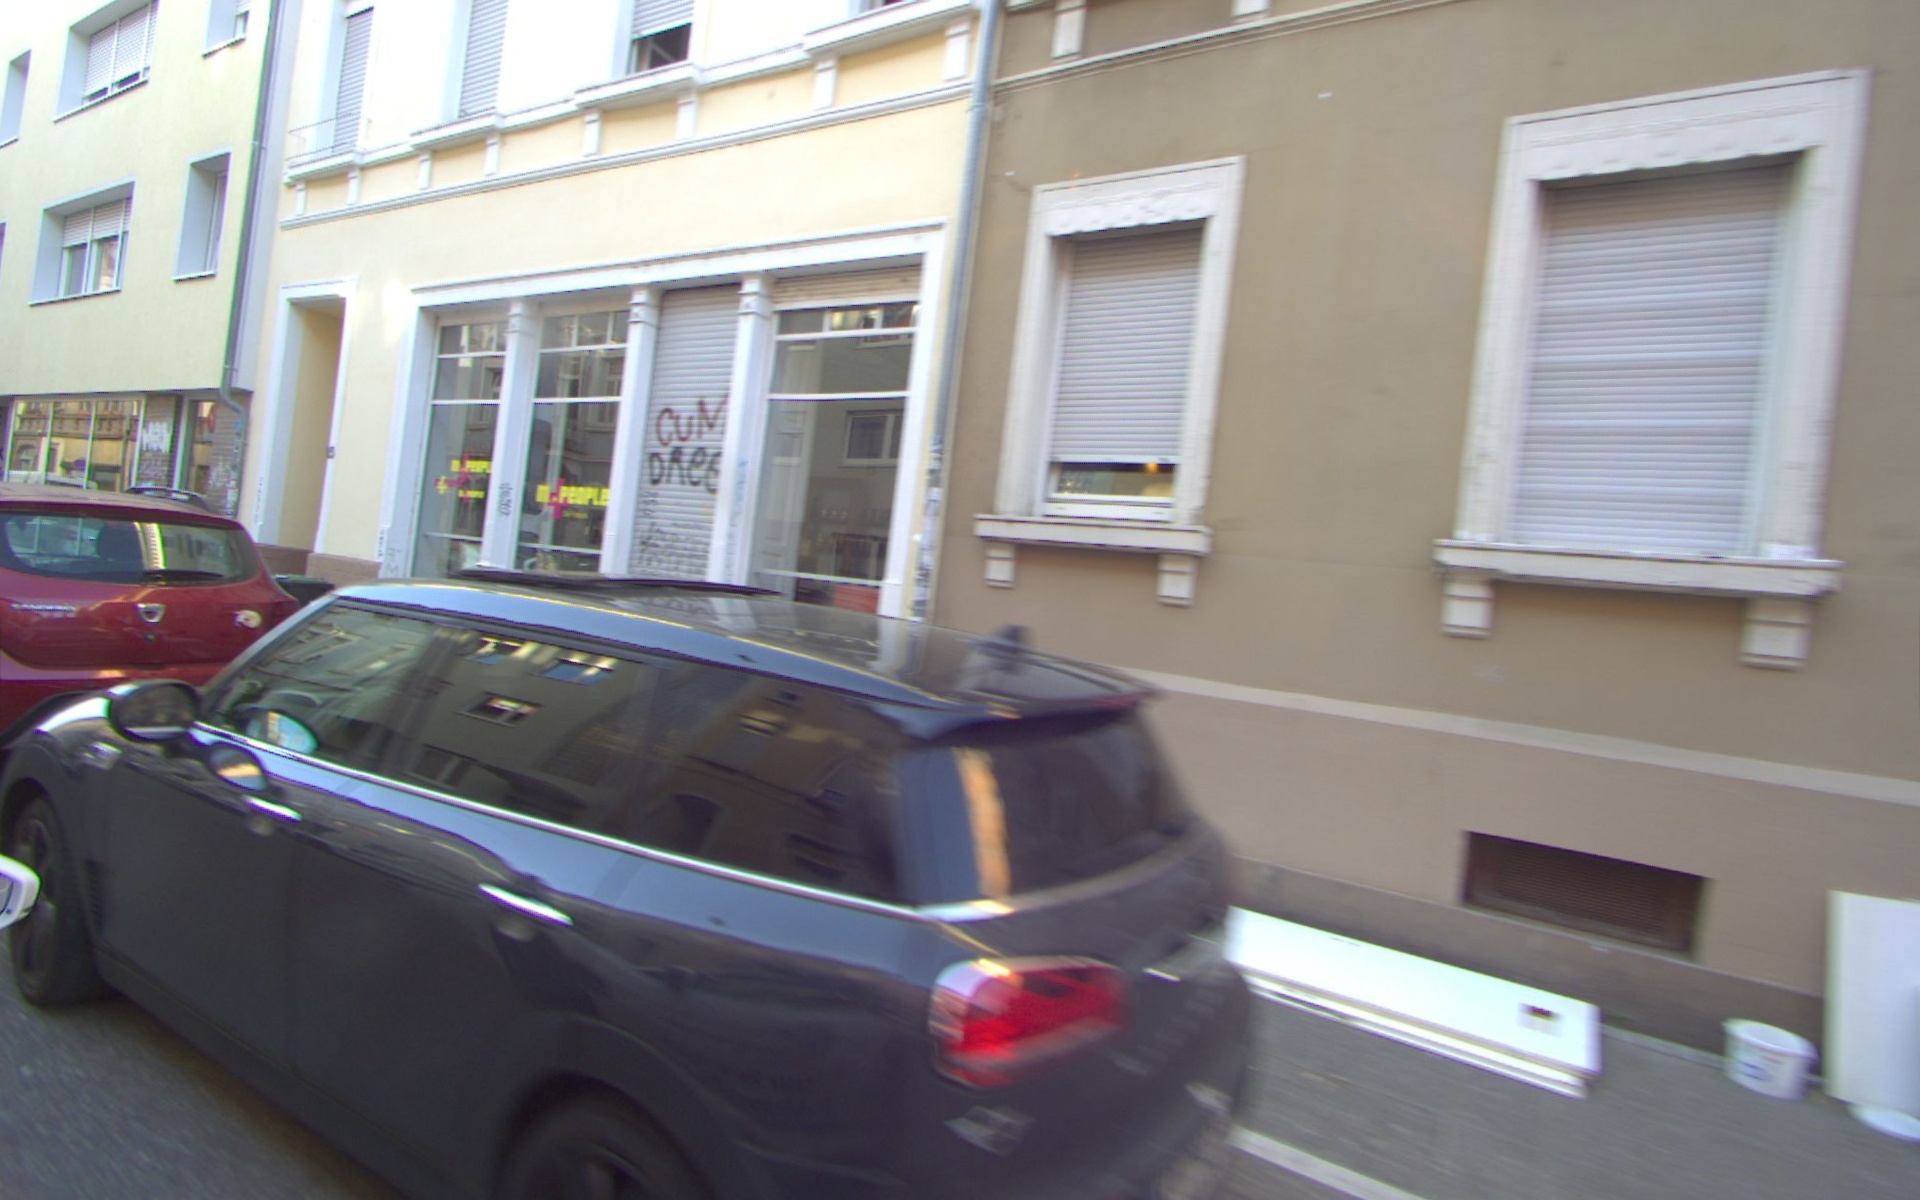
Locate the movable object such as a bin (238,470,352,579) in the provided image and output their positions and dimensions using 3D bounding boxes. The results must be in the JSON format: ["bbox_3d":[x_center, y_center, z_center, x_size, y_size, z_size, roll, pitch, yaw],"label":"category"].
[{"bbox_3d":[-6.544,-0.732,9.916,0.502,0.947,0.707,7,0,31],"label":"movable object such as a bin"}]

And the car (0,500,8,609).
[{"bbox_3d":[-10.263,-0.350,8.825,4.123,1.471,1.690,7,1,31],"label":"car"}]

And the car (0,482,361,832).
[{"bbox_3d":[-5.625,0.116,6.052,3.934,1.570,1.791,7,0,32],"label":"car"}]

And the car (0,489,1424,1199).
[{"bbox_3d":[-1.142,0.670,3.026,4.308,1.540,1.764,7,-1,32],"label":"car"}]
